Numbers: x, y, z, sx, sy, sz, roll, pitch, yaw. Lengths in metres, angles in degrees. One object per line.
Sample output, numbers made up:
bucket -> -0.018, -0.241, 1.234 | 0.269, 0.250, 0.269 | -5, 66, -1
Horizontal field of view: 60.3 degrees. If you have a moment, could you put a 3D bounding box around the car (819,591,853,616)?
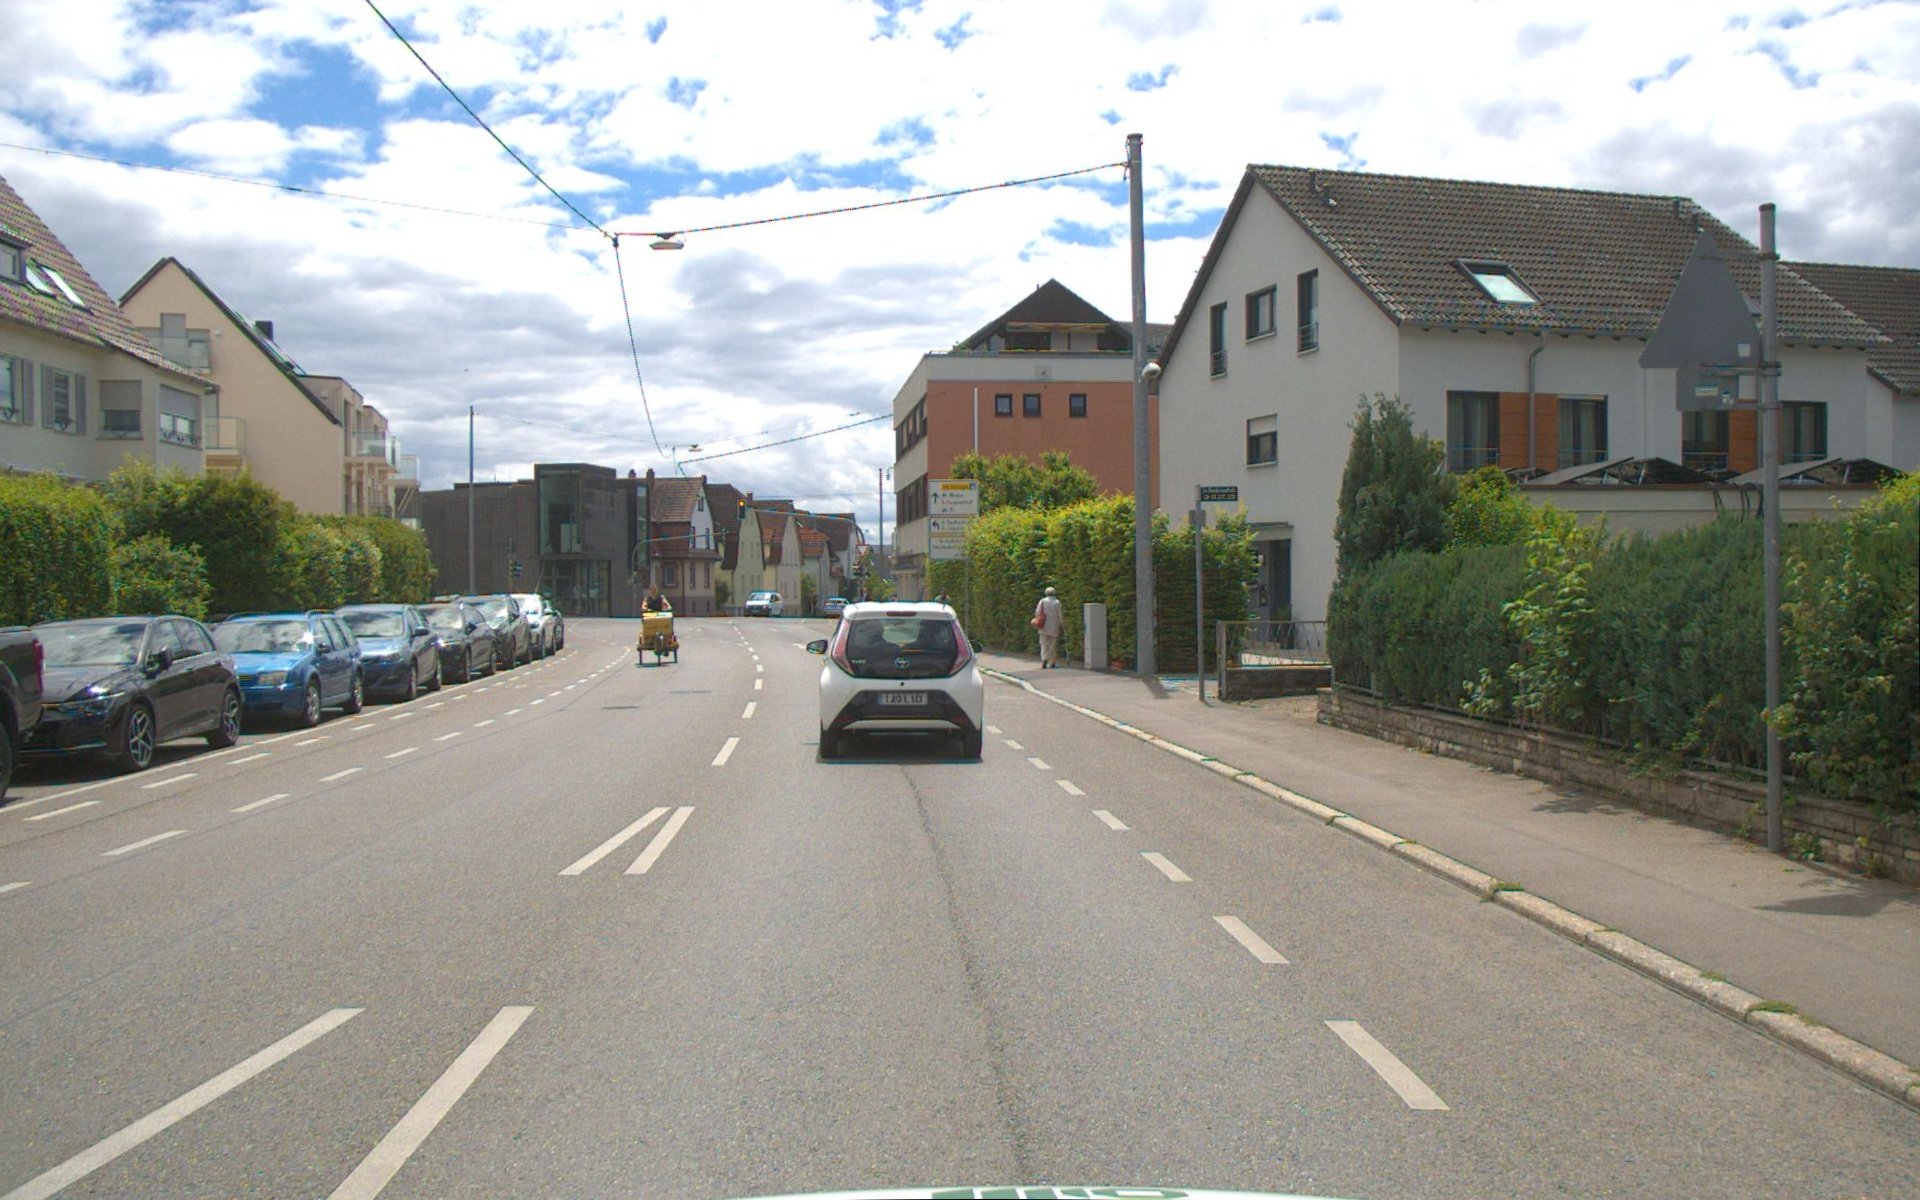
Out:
car -> -9.862, 0.310, 131.891 | 1.951, 1.937, 4.003 | 1, 0, 6

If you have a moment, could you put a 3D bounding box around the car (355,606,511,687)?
car -> -10.246, 0.852, 32.537 | 1.955, 1.433, 4.684 | -1, 0, -6

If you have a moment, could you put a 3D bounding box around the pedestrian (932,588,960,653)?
pedestrian -> -0.363, 0.527, 43.021 | 0.591, 1.633, 0.835 | -2, 0, -6

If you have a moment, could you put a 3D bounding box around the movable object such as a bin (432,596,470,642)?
movable object such as a bin -> -16.984, 0.635, 55.194 | 1.046, 1.508, 1.211 | -1, 0, -10

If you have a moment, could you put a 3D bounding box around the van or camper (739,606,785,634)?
van or camper -> -14.469, 1.477, 121.129 | 2.070, 1.959, 5.289 | 1, 0, 7

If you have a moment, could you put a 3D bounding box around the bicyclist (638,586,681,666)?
bicyclist -> -6.698, 0.565, 36.885 | 0.776, 1.743, 1.208 | -1, 0, -3

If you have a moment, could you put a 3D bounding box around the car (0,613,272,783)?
car -> -8.565, 0.884, 16.715 | 1.743, 1.442, 4.334 | -1, 0, -5

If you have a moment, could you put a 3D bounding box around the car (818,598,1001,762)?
car -> -0.549, 0.749, 16.914 | 1.663, 1.482, 3.297 | 1, 0, -3

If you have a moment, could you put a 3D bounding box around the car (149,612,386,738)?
car -> -9.043, 0.911, 21.992 | 1.744, 1.442, 4.433 | -1, 0, -7

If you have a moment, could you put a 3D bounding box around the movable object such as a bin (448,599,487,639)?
movable object such as a bin -> -16.807, 0.634, 56.478 | 1.045, 1.336, 1.212 | -1, 0, -6

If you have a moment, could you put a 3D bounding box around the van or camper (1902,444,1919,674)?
van or camper -> 18.146, -0.500, 25.557 | 8.568, 3.360, 2.393 | 1, -1, -31

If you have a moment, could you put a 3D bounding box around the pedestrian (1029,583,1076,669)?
pedestrian -> 1.820, 0.511, 32.639 | 0.783, 1.645, 0.652 | -2, 0, -7

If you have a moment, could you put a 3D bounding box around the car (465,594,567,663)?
car -> -11.552, 0.711, 43.309 | 1.956, 1.679, 4.509 | -1, 0, -8

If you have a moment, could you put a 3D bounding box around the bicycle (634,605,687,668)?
bicycle -> -6.656, 0.788, 36.851 | 0.846, 1.324, 2.659 | -1, 0, -4

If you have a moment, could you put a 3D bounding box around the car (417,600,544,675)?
car -> -10.964, 0.803, 38.146 | 1.955, 1.591, 4.684 | -1, 0, -6

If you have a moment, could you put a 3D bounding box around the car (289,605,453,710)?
car -> -9.500, 0.855, 26.995 | 1.745, 1.518, 4.555 | -1, 0, -10

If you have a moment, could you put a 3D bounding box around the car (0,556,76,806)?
car -> -8.277, 0.670, 11.223 | 1.955, 1.928, 5.398 | -3, 0, -5
